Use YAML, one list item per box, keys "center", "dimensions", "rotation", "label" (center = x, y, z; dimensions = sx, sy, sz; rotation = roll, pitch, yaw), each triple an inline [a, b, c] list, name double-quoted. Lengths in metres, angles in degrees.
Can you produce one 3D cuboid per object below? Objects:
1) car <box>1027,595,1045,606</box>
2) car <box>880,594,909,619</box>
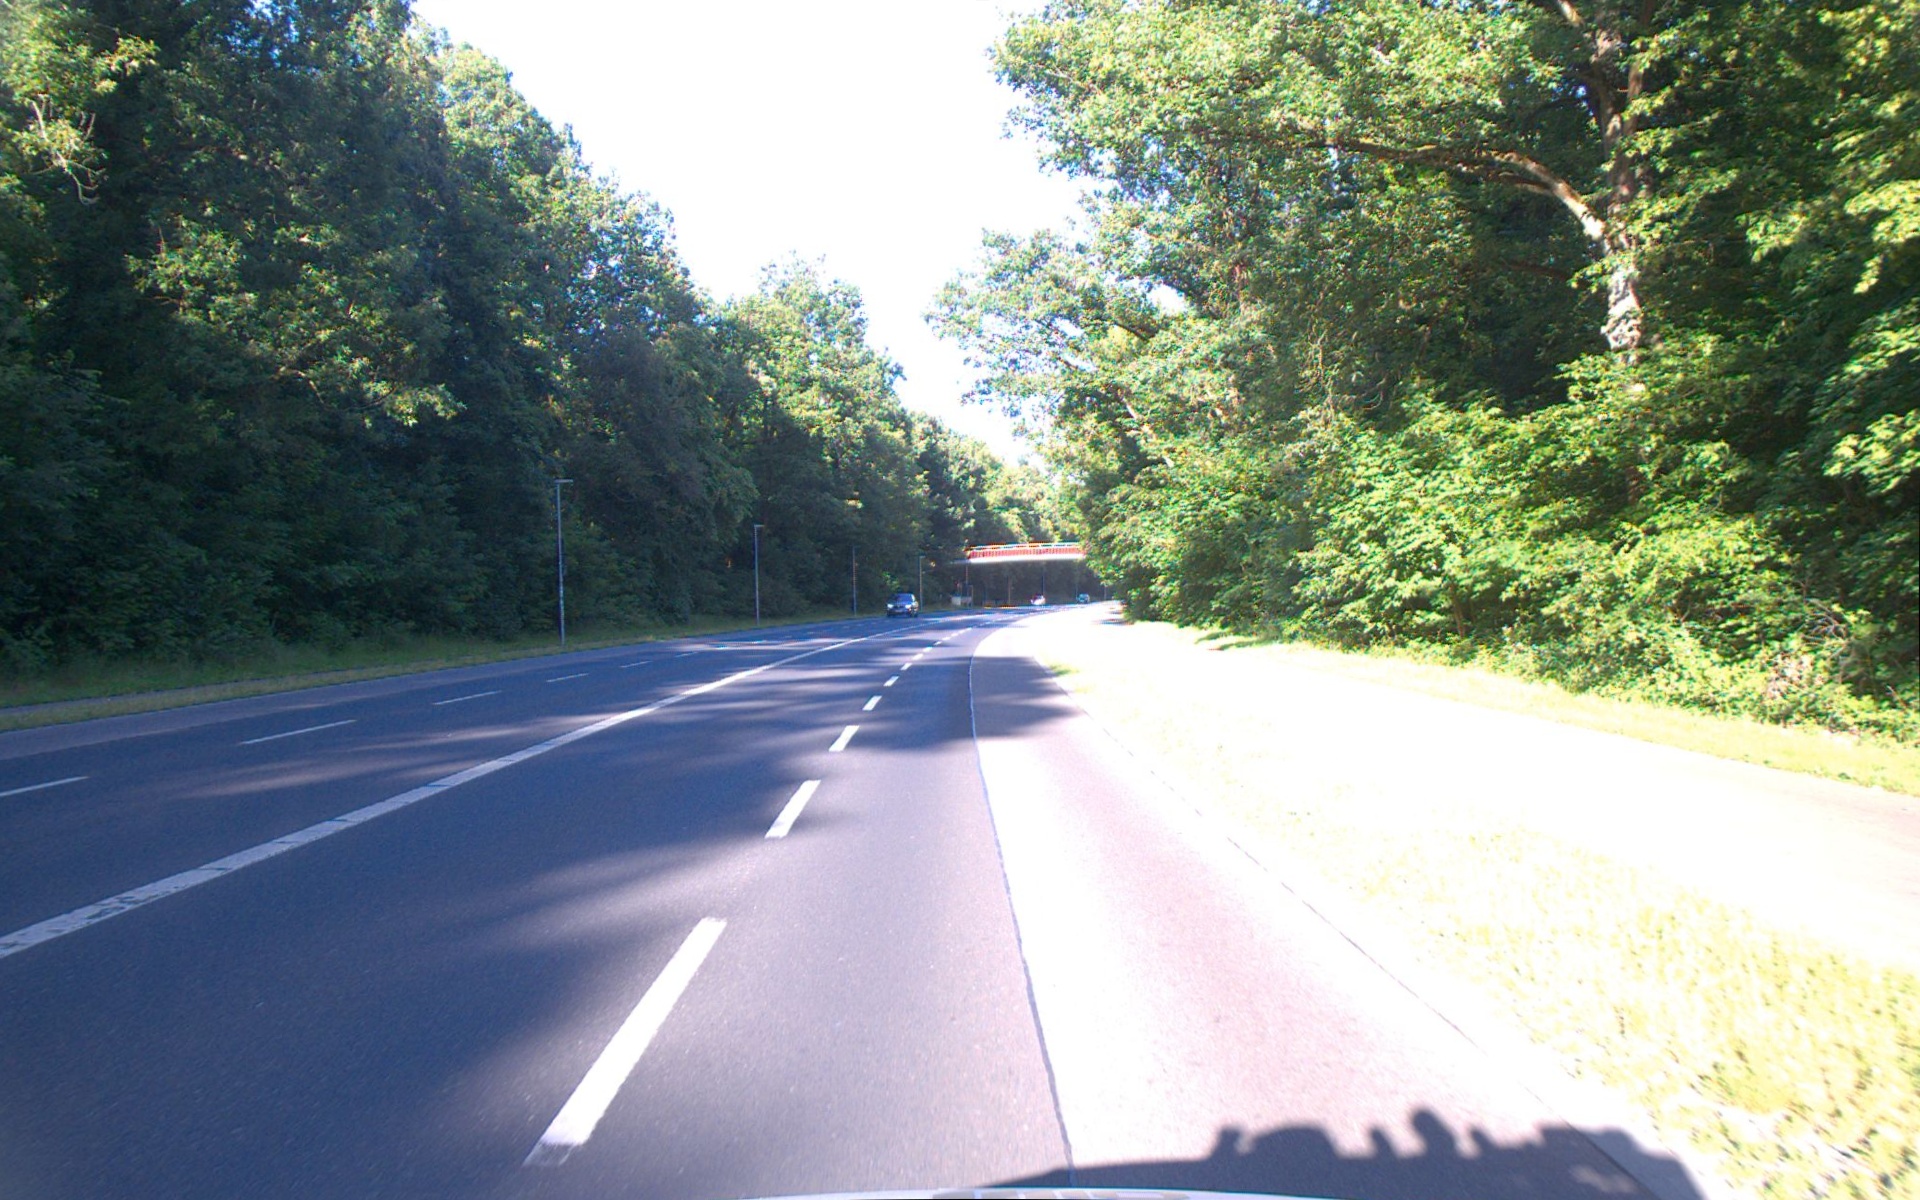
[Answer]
- center: [10.179, 0.047, 221.652]
  dimensions: [1.673, 1.448, 4.134]
  rotation: [0, 0, 12]
  label: "car"
- center: [-4.476, 0.455, 113.878]
  dimensions: [1.770, 1.692, 4.522]
  rotation: [0, 0, 1]
  label: "car"
